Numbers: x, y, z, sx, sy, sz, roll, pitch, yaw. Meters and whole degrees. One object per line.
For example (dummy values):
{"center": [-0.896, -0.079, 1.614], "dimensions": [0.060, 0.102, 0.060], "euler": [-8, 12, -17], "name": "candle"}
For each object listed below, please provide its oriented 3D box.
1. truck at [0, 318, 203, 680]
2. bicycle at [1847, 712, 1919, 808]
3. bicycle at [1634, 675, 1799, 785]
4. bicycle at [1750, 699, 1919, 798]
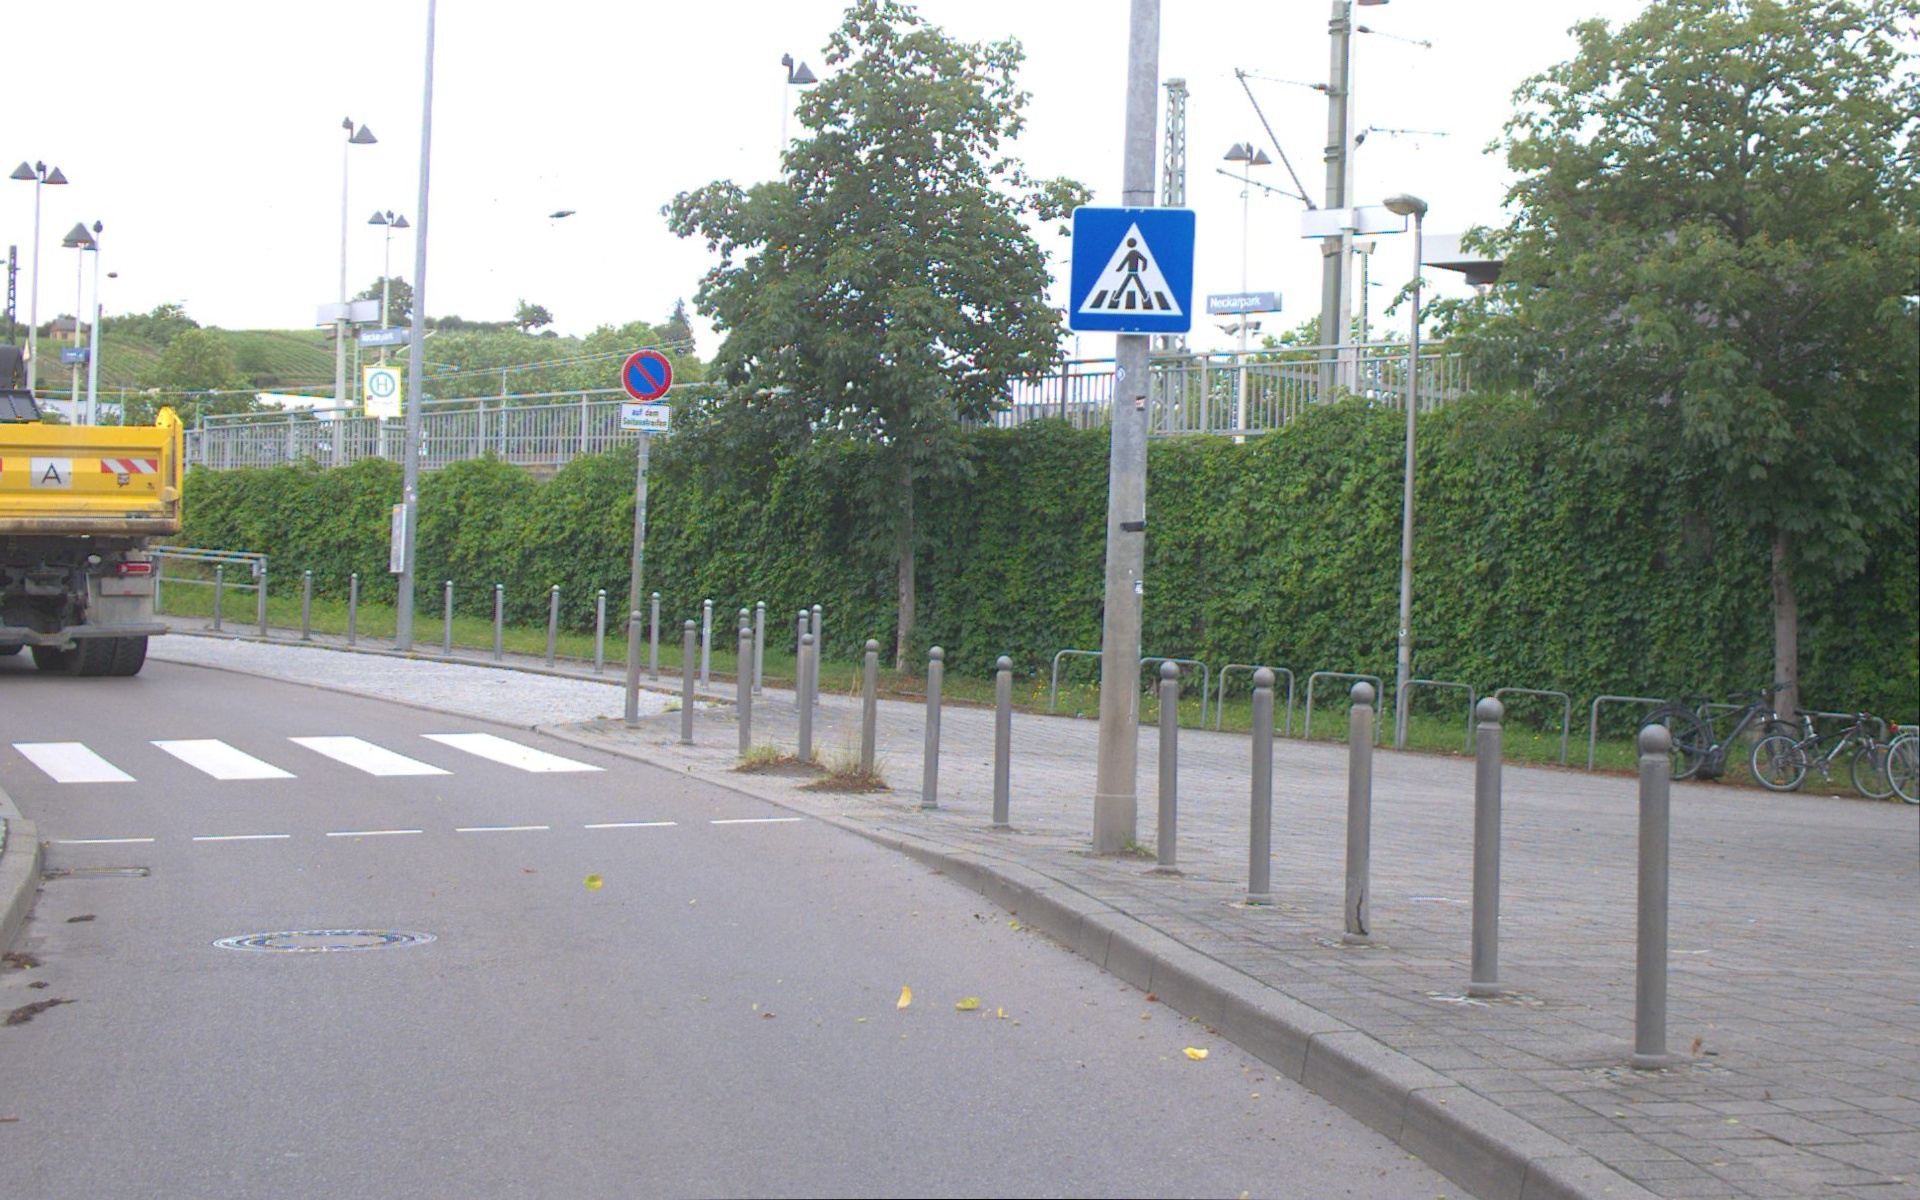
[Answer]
{"center": [-10.734, -1.161, 36.874], "dimensions": [2.764, 3.471, 8.130], "euler": [1, 2, -29], "name": "truck"}
{"center": [9.687, 1.612, 33.466], "dimensions": [1.965, 0.862, 0.511], "euler": [5, 0, -14], "name": "bicycle"}
{"center": [7.679, 1.310, 34.931], "dimensions": [1.488, 0.986, 0.694], "euler": [4, 0, 4], "name": "bicycle"}
{"center": [8.776, 1.485, 34.413], "dimensions": [1.574, 0.851, 0.464], "euler": [4, 0, -11], "name": "bicycle"}
